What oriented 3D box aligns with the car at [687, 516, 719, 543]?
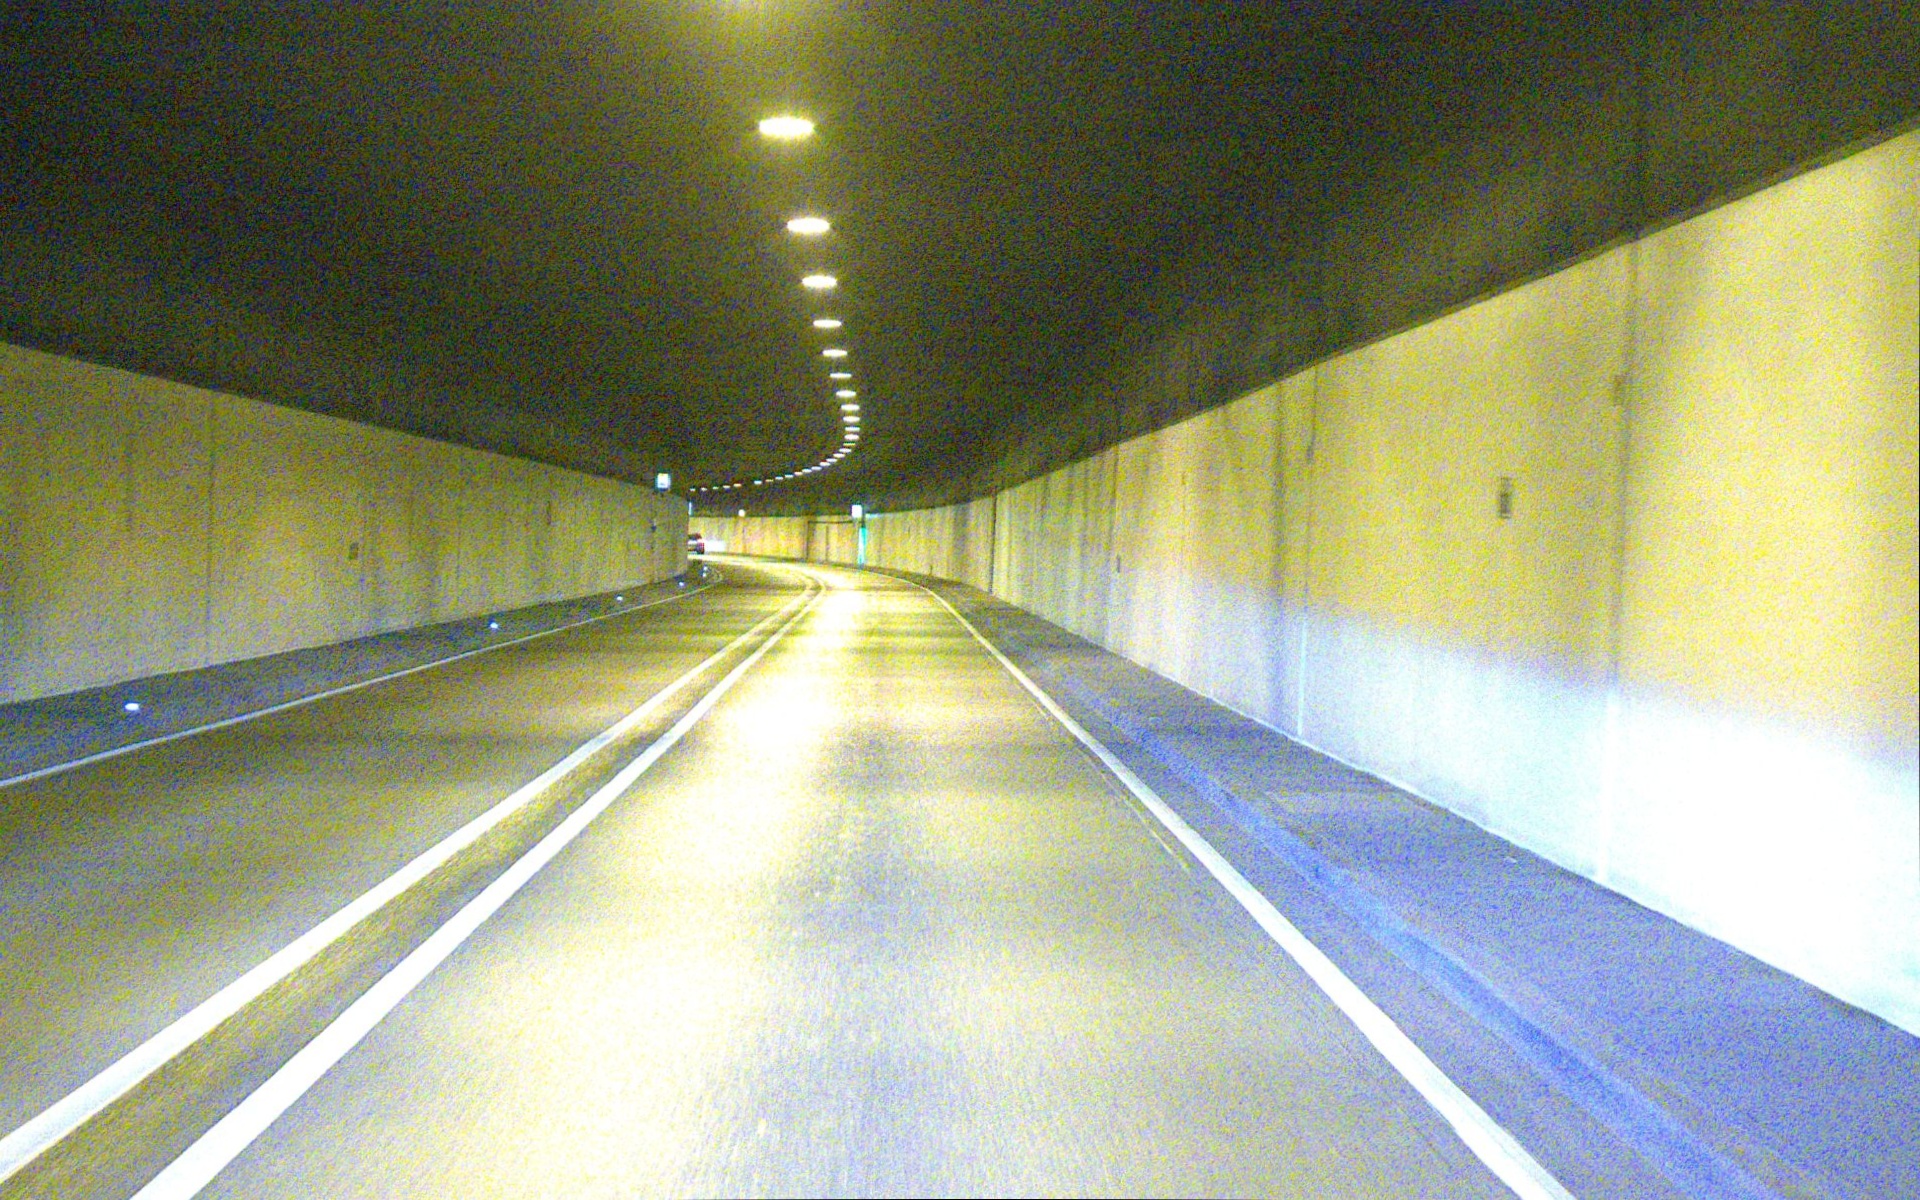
[{"bbox_3d":[-19.125,-5.254,255.974,1.966,1.932,4.614,2,0,-9],"label":"car"}]
